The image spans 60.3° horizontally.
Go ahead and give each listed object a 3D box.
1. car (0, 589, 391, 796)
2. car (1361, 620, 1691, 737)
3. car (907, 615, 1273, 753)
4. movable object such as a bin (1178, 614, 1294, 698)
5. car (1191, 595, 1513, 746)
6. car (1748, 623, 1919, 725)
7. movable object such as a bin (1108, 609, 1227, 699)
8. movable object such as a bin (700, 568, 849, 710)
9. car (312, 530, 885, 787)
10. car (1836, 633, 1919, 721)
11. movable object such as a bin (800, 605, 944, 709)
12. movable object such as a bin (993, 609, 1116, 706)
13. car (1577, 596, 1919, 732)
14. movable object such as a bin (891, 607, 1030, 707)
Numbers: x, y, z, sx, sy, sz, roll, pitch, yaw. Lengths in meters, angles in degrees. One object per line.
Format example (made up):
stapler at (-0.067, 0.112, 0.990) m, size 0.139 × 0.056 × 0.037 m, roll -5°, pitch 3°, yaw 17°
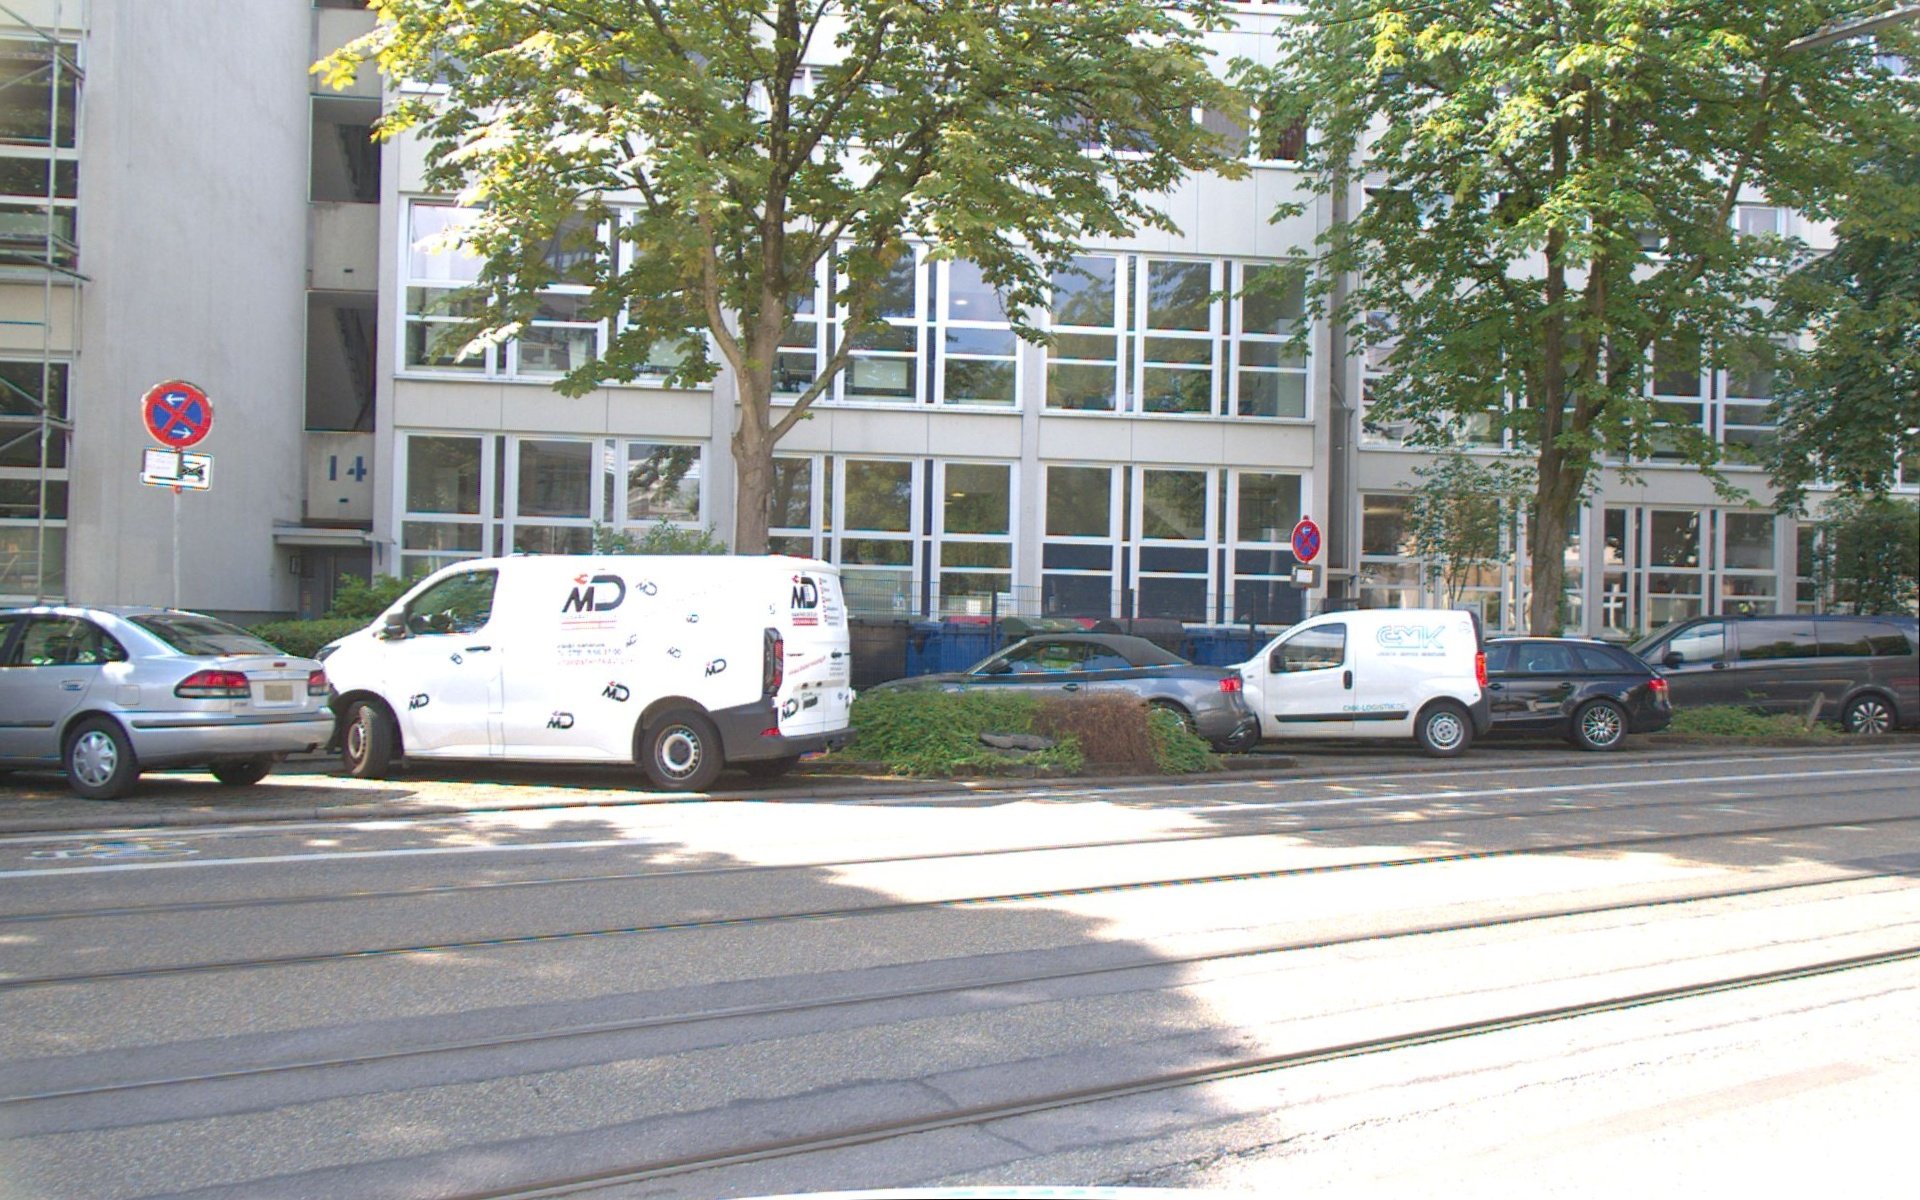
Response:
car at (-6.908, 0.672, 13.315) m, size 4.069 × 1.475 × 1.823 m, roll 0°, pitch -1°, yaw 16°
car at (7.350, 1.048, 21.858) m, size 3.902 × 1.443 × 1.761 m, roll -1°, pitch -3°, yaw 12°
car at (1.471, 0.949, 18.606) m, size 3.902 × 1.443 × 1.723 m, roll -1°, pitch -3°, yaw 6°
movable object such as a bin at (4.429, 0.915, 26.547) m, size 1.424 × 1.306 × 1.158 m, roll 2°, pitch -4°, yaw -33°
car at (4.741, 0.872, 20.136) m, size 3.624 × 1.723 × 1.761 m, roll -1°, pitch -3°, yaw 14°
car at (15.283, 1.210, 27.177) m, size 3.902 × 1.621 × 1.742 m, roll -1°, pitch -3°, yaw 14°
movable object such as a bin at (3.221, 0.860, 25.740) m, size 1.424 × 1.351 × 1.154 m, roll 2°, pitch -4°, yaw -34°
movable object such as a bin at (-2.503, 0.557, 22.237) m, size 1.522 × 1.813 × 1.373 m, roll 2°, pitch -4°, yaw -36°
car at (-3.158, 0.464, 14.703) m, size 4.572 × 2.032 × 1.970 m, roll 0°, pitch -1°, yaw 16°
car at (17.764, 1.331, 29.021) m, size 3.902 × 1.510 × 1.742 m, roll -1°, pitch -3°, yaw 16°
movable object such as a bin at (-1.242, 0.812, 23.114) m, size 1.522 × 1.388 × 1.373 m, roll 2°, pitch -4°, yaw -36°
movable object such as a bin at (1.420, 0.878, 24.878) m, size 1.425 × 1.405 × 1.181 m, roll 2°, pitch -4°, yaw -35°
car at (12.396, 1.013, 25.617) m, size 5.041 × 1.989 × 1.918 m, roll -1°, pitch -3°, yaw 12°
movable object such as a bin at (-0.002, 0.855, 24.071) m, size 1.522 × 1.388 × 1.373 m, roll 2°, pitch -4°, yaw -36°
